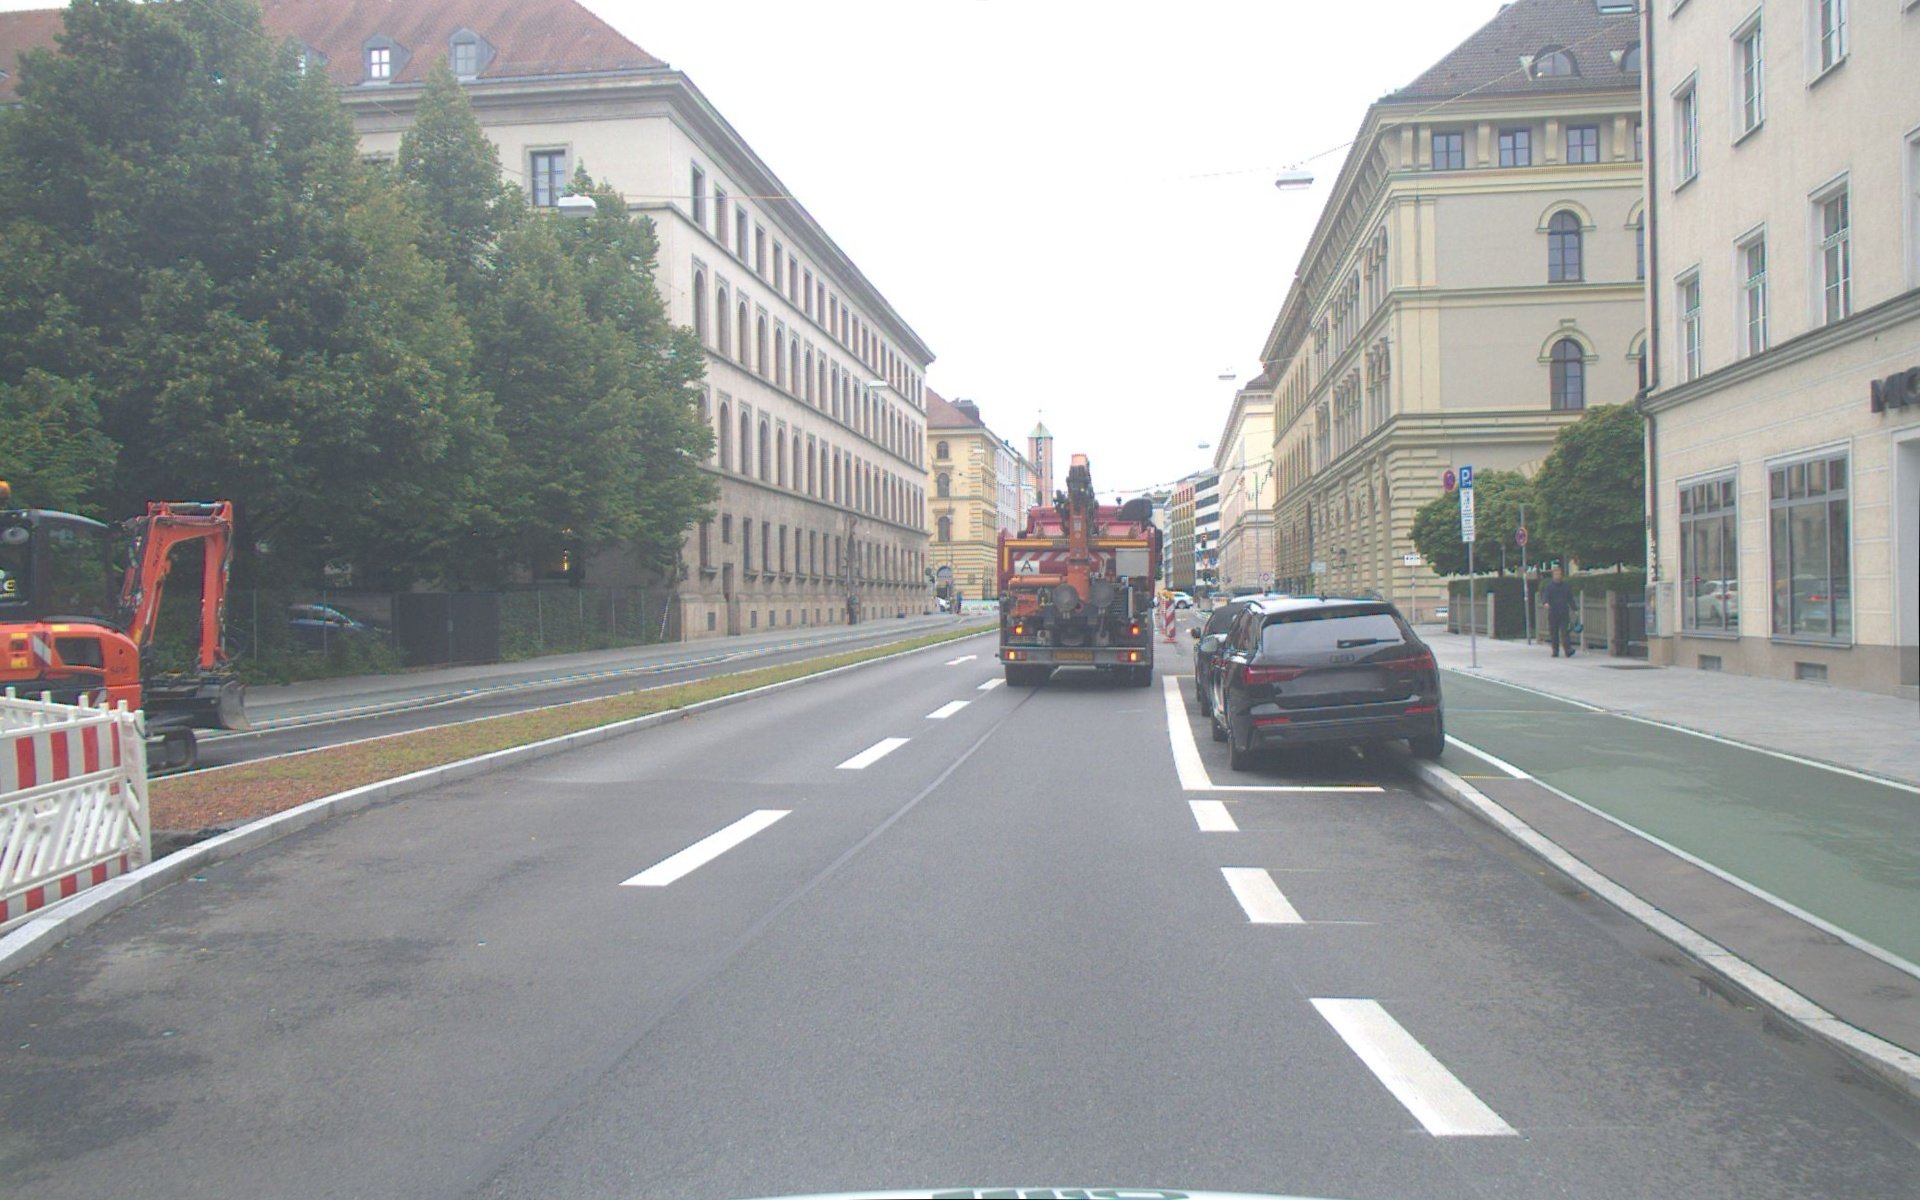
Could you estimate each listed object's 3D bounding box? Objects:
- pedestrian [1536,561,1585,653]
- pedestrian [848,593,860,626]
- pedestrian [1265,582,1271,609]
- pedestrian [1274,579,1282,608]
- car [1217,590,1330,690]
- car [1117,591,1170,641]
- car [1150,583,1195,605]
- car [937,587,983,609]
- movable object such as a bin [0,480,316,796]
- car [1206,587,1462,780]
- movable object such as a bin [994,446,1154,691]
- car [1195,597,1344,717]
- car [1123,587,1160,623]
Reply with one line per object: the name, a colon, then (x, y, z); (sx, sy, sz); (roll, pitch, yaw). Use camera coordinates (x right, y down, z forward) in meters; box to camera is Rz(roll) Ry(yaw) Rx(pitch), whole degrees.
pedestrian: (12.493, 0.145, 34.437); (0.773, 1.868, 0.778); (-1, 0, 8)
pedestrian: (-6.003, 0.518, 93.369); (0.576, 1.863, 0.499); (0, 0, 5)
pedestrian: (19.662, -0.304, 105.694); (0.330, 1.701, 0.440); (-1, 0, 8)
pedestrian: (20.323, -0.402, 105.562); (0.436, 1.868, 0.556); (-1, 0, 8)
car: (5.169, 0.617, 27.588); (1.576, 1.521, 3.427); (-1, 0, 7)
car: (5.854, 0.493, 52.766); (1.576, 1.521, 3.427); (-1, 0, 7)
car: (19.047, -0.568, 148.271); (3.902, 1.851, 1.897); (-1, 0, 9)
car: (-0.005, -0.188, 151.405); (3.902, 1.982, 2.002); (-1, 0, 9)
movable object such as a bin: (-8.415, 0.334, 16.515); (1.952, 2.687, 4.667); (-1, 0, 2)
car: (3.356, 0.660, 15.660); (1.763, 1.506, 4.690); (-1, 0, 6)
movable object such as a bin: (2.007, -0.481, 27.881); (2.372, 3.674, 5.855); (-1, 0, 6)
car: (4.014, 0.678, 22.031); (1.644, 1.410, 4.430); (0, 0, 7)
car: (8.166, 0.210, 74.177); (1.576, 1.521, 3.427); (-1, 0, 7)
